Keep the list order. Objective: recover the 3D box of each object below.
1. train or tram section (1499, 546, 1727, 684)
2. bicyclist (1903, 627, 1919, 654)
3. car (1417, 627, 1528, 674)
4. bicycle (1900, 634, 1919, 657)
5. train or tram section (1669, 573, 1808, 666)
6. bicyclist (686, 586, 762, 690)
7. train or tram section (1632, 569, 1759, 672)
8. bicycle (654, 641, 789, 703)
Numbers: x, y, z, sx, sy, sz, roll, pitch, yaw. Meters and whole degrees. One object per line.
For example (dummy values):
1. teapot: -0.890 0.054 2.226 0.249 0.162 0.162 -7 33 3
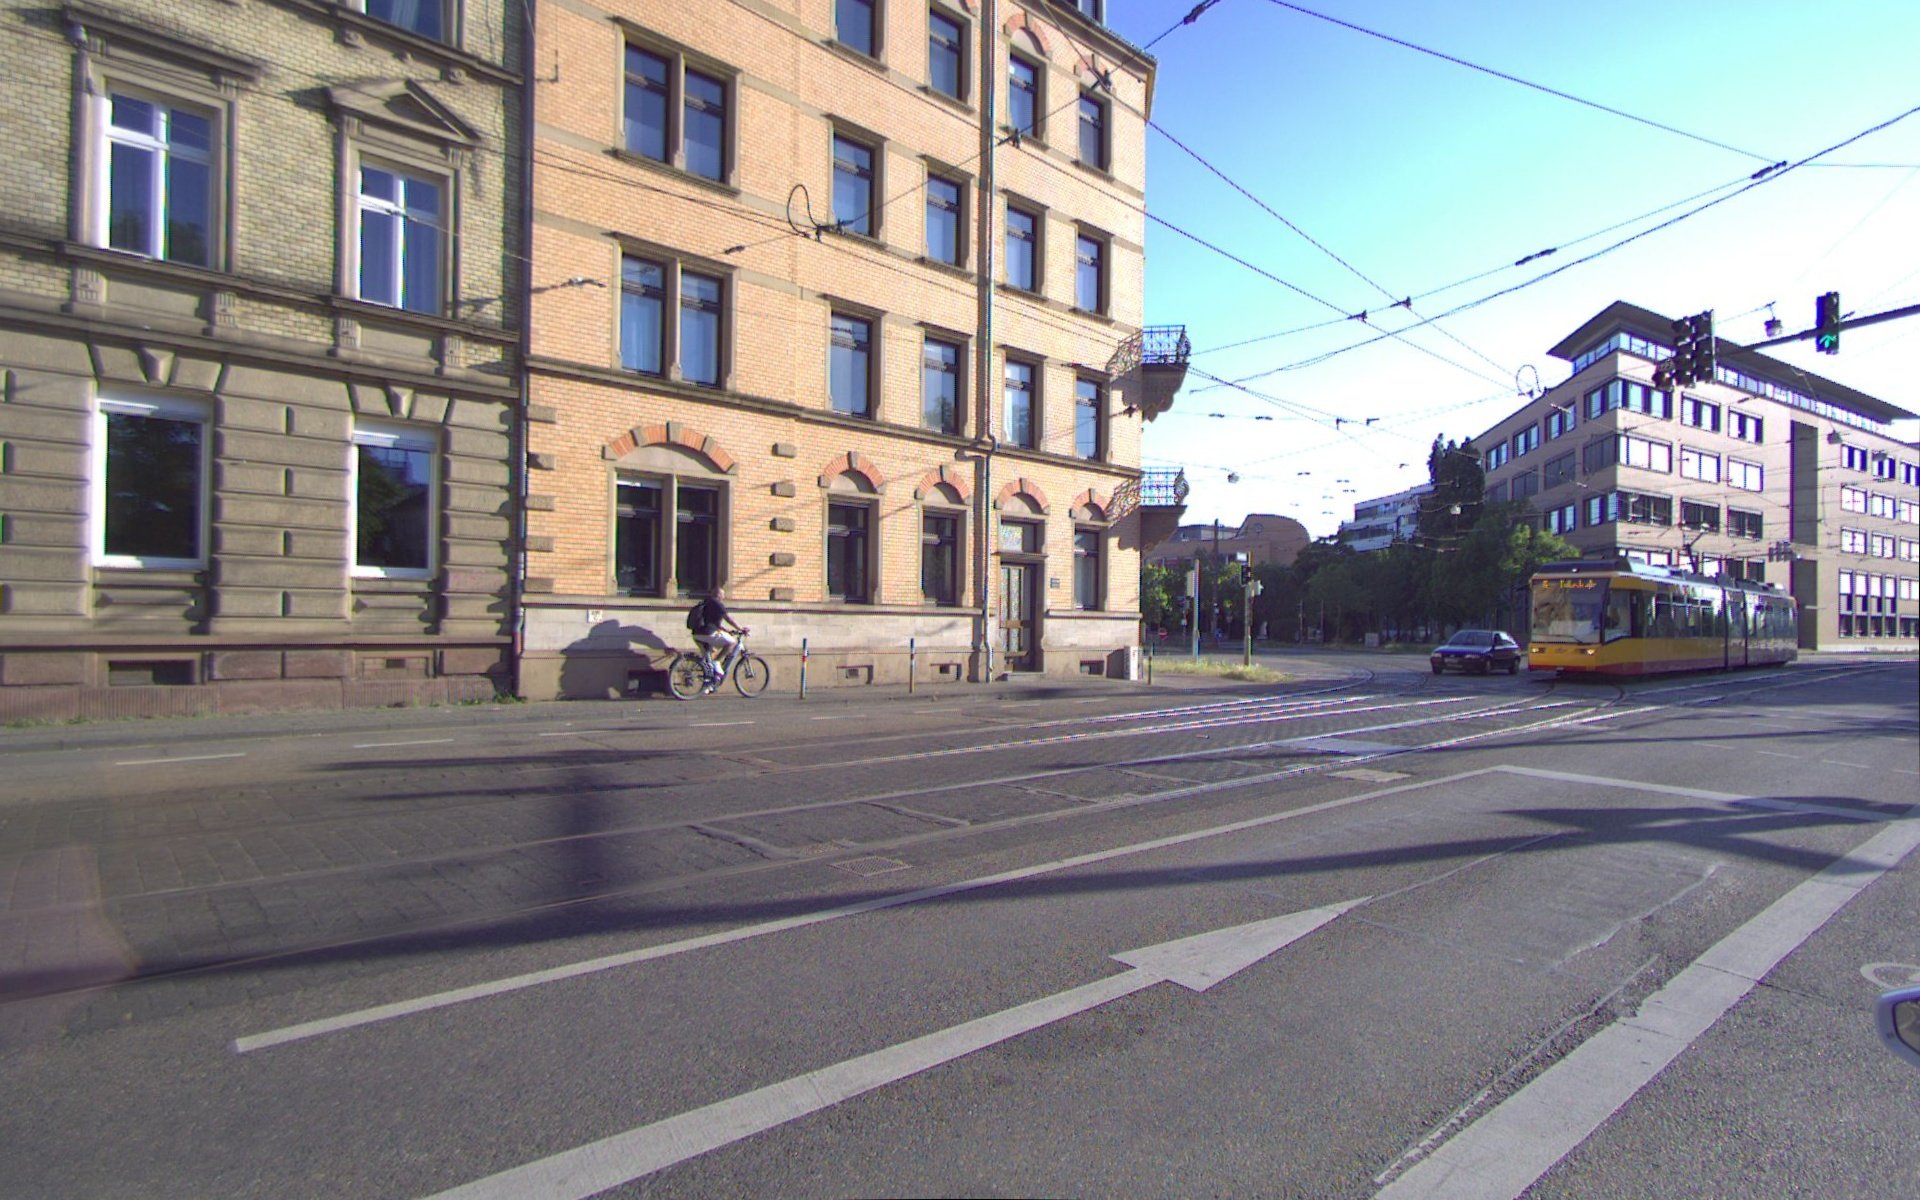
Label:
1. train or tram section: 20.699 0.566 31.252 12.920 3.554 2.834 2 -2 -43
2. bicyclist: 74.030 3.153 77.862 1.232 2.040 1.025 3 0 -30
3. car: 16.369 1.583 32.030 4.131 1.398 1.793 2 -2 -42
4. bicycle: 74.043 3.530 77.888 2.529 1.673 1.025 2 -1 -29
5. train or tram section: 33.408 0.897 42.861 11.215 3.554 2.834 2 -2 -42
6. bicyclist: -3.837 0.608 16.358 1.028 1.634 0.629 2 -1 -40
7. train or tram section: 27.389 0.777 37.353 5.265 3.554 2.834 2 -2 -42
8. bicycle: -3.847 1.143 16.351 2.071 0.952 0.641 2 -2 -41
